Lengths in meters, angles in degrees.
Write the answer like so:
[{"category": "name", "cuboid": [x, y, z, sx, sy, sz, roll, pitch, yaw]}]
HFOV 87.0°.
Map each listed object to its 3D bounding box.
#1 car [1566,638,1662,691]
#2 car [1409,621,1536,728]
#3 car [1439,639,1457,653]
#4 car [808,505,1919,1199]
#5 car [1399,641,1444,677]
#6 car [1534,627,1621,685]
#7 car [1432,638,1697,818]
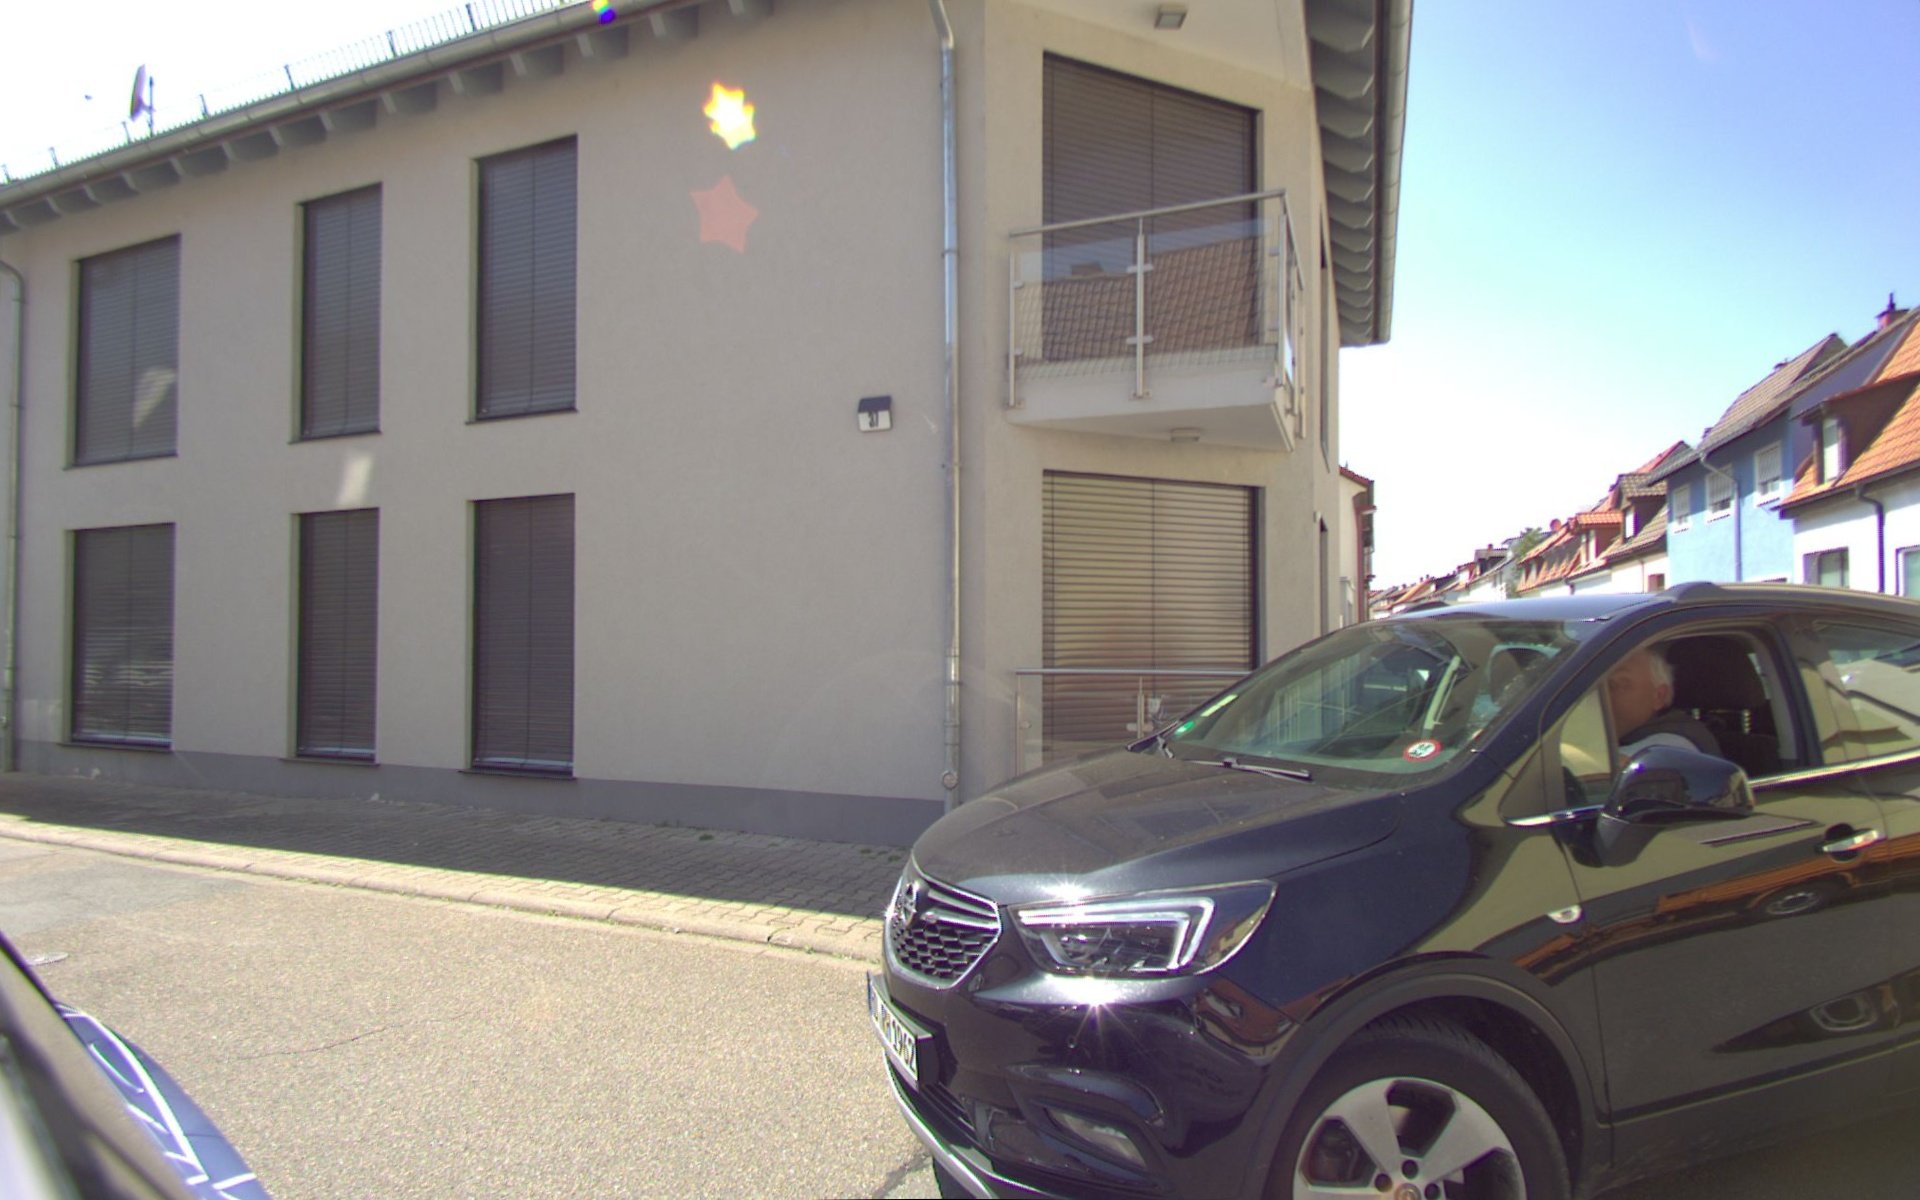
[{"category": "car", "cuboid": [20.341, 1.956, 31.631, 1.714, 1.513, 4.183, 0, -2, 22]}, {"category": "car", "cuboid": [9.235, 1.291, 18.507, 1.674, 1.743, 3.759, 0, -2, 21]}, {"category": "car", "cuboid": [43.928, 4.130, 91.068, 1.288, 1.193, 2.941, -1, -2, 22]}, {"category": "car", "cuboid": [1.784, 0.725, 3.071, 4.207, 1.595, 1.767, 1, -4, -17]}, {"category": "car", "cuboid": [19.750, 2.507, 43.402, 1.512, 1.436, 3.836, 0, -2, 21]}, {"category": "car", "cuboid": [23.687, 2.099, 38.999, 1.984, 2.029, 3.975, 0, -1, 19]}, {"category": "car", "cuboid": [5.761, 1.111, 10.119, 1.628, 1.379, 3.898, -3, -3, 22]}]
